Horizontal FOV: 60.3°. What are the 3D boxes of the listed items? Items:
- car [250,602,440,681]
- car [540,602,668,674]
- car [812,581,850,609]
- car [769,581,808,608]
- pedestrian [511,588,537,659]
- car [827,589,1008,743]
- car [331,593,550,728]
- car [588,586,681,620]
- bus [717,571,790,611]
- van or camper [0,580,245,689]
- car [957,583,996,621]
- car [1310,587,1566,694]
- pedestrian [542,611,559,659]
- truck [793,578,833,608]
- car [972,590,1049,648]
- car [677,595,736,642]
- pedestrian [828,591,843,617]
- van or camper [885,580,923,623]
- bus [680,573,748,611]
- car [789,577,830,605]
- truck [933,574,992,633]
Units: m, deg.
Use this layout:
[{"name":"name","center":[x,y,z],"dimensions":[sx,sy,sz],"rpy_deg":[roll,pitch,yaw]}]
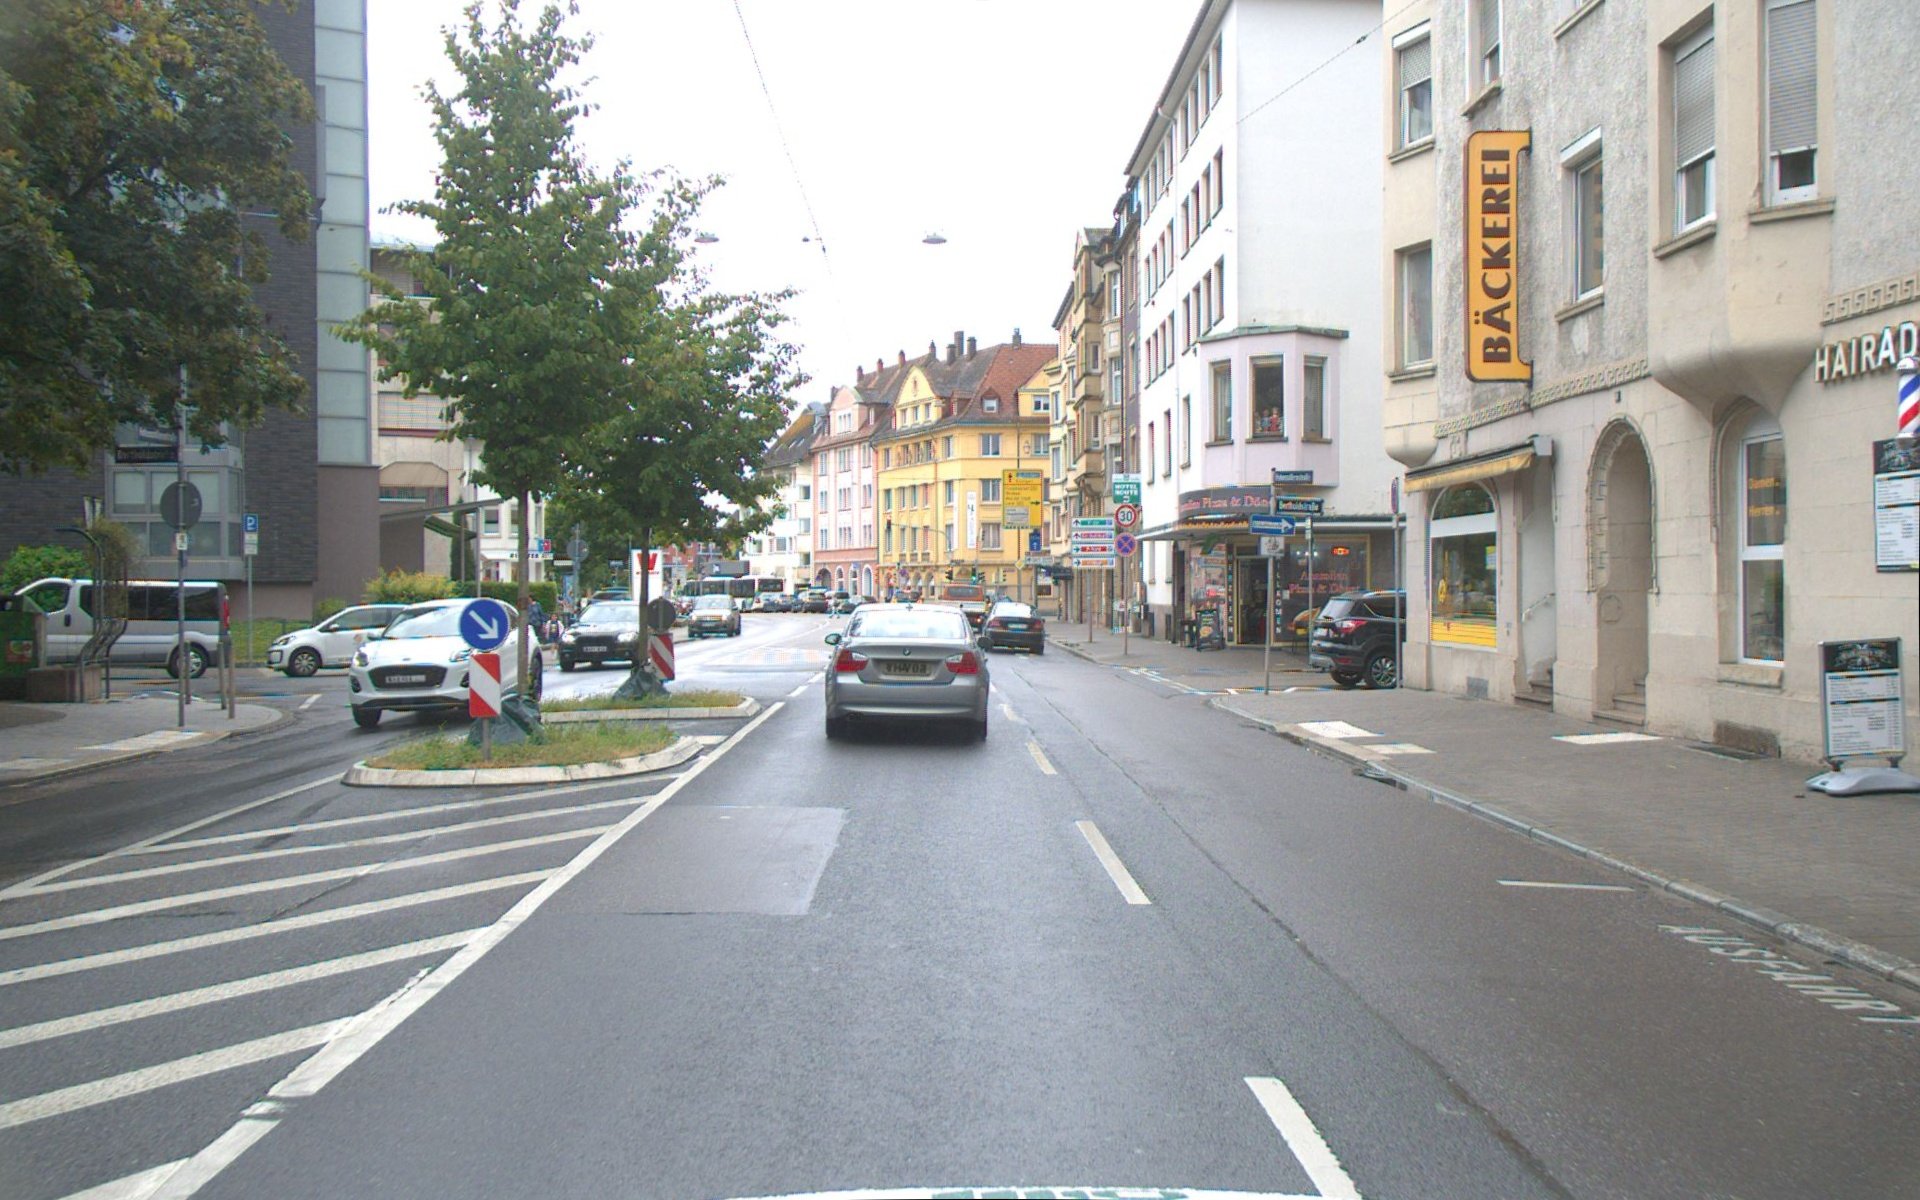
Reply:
[{"name":"car","center":[-13.198,0.869,35.540],"dimensions":[3.547,1.597,1.720],"rpy_deg":[1,0,-35]},{"name":"car","center":[-7.929,0.814,37.240],"dimensions":[1.973,1.450,4.499],"rpy_deg":[1,0,-1]},{"name":"car","center":[-10.655,-0.443,136.036],"dimensions":[1.741,2.218,3.966],"rpy_deg":[1,0,-26]},{"name":"car","center":[-13.251,-0.399,127.781],"dimensions":[1.966,2.049,3.972],"rpy_deg":[0,0,-23]},{"name":"pedestrian","center":[-11.021,0.591,41.851],"dimensions":[0.563,1.793,0.580],"rpy_deg":[0,0,-8]},{"name":"car","center":[-0.512,0.678,18.588],"dimensions":[1.763,1.490,4.368],"rpy_deg":[1,-1,-3]},{"name":"car","center":[-6.876,0.732,22.330],"dimensions":[1.783,1.596,4.087],"rpy_deg":[-1,0,-3]},{"name":"car","center":[-16.251,0.150,82.751],"dimensions":[4.360,1.553,1.883],"rpy_deg":[1,0,-7]},{"name":"bus","center":[-16.990,-0.742,135.482],"dimensions":[2.877,3.159,9.055],"rpy_deg":[-1,1,-29]},{"name":"van or camper","center":[-17.095,0.658,33.102],"dimensions":[4.901,2.049,1.979],"rpy_deg":[1,0,-31]},{"name":"car","center":[0.901,0.106,91.777],"dimensions":[1.953,2.049,3.998],"rpy_deg":[0,0,-2]},{"name":"car","center":[8.387,0.687,29.323],"dimensions":[4.051,1.803,1.874],"rpy_deg":[0,0,4]},{"name":"pedestrian","center":[-10.439,0.882,42.164],"dimensions":[0.401,1.219,0.310],"rpy_deg":[0,0,-8]},{"name":"truck","center":[-12.586,-0.634,140.967],"dimensions":[2.002,2.431,4.201],"rpy_deg":[1,1,-26]},{"name":"car","center":[1.411,0.532,47.299],"dimensions":[1.764,1.590,3.996],"rpy_deg":[0,-1,-5]},{"name":"car","center":[-10.179,0.711,66.169],"dimensions":[1.916,1.688,4.042],"rpy_deg":[-3,1,-14]},{"name":"pedestrian","center":[-7.438,0.256,99.103],"dimensions":[0.750,1.556,0.505],"rpy_deg":[2,-1,-22]},{"name":"van or camper","center":[-2.977,0.044,87.305],"dimensions":[1.818,2.184,4.139],"rpy_deg":[1,0,-4]},{"name":"bus","center":[-21.351,-0.717,143.304],"dimensions":[2.878,3.159,8.783],"rpy_deg":[-1,1,-30]},{"name":"car","center":[-11.160,-0.670,122.158],"dimensions":[1.966,2.049,3.973],"rpy_deg":[0,0,-22]},{"name":"truck","center":[0.057,0.118,66.859],"dimensions":[2.179,2.289,5.061],"rpy_deg":[1,0,-2]}]
